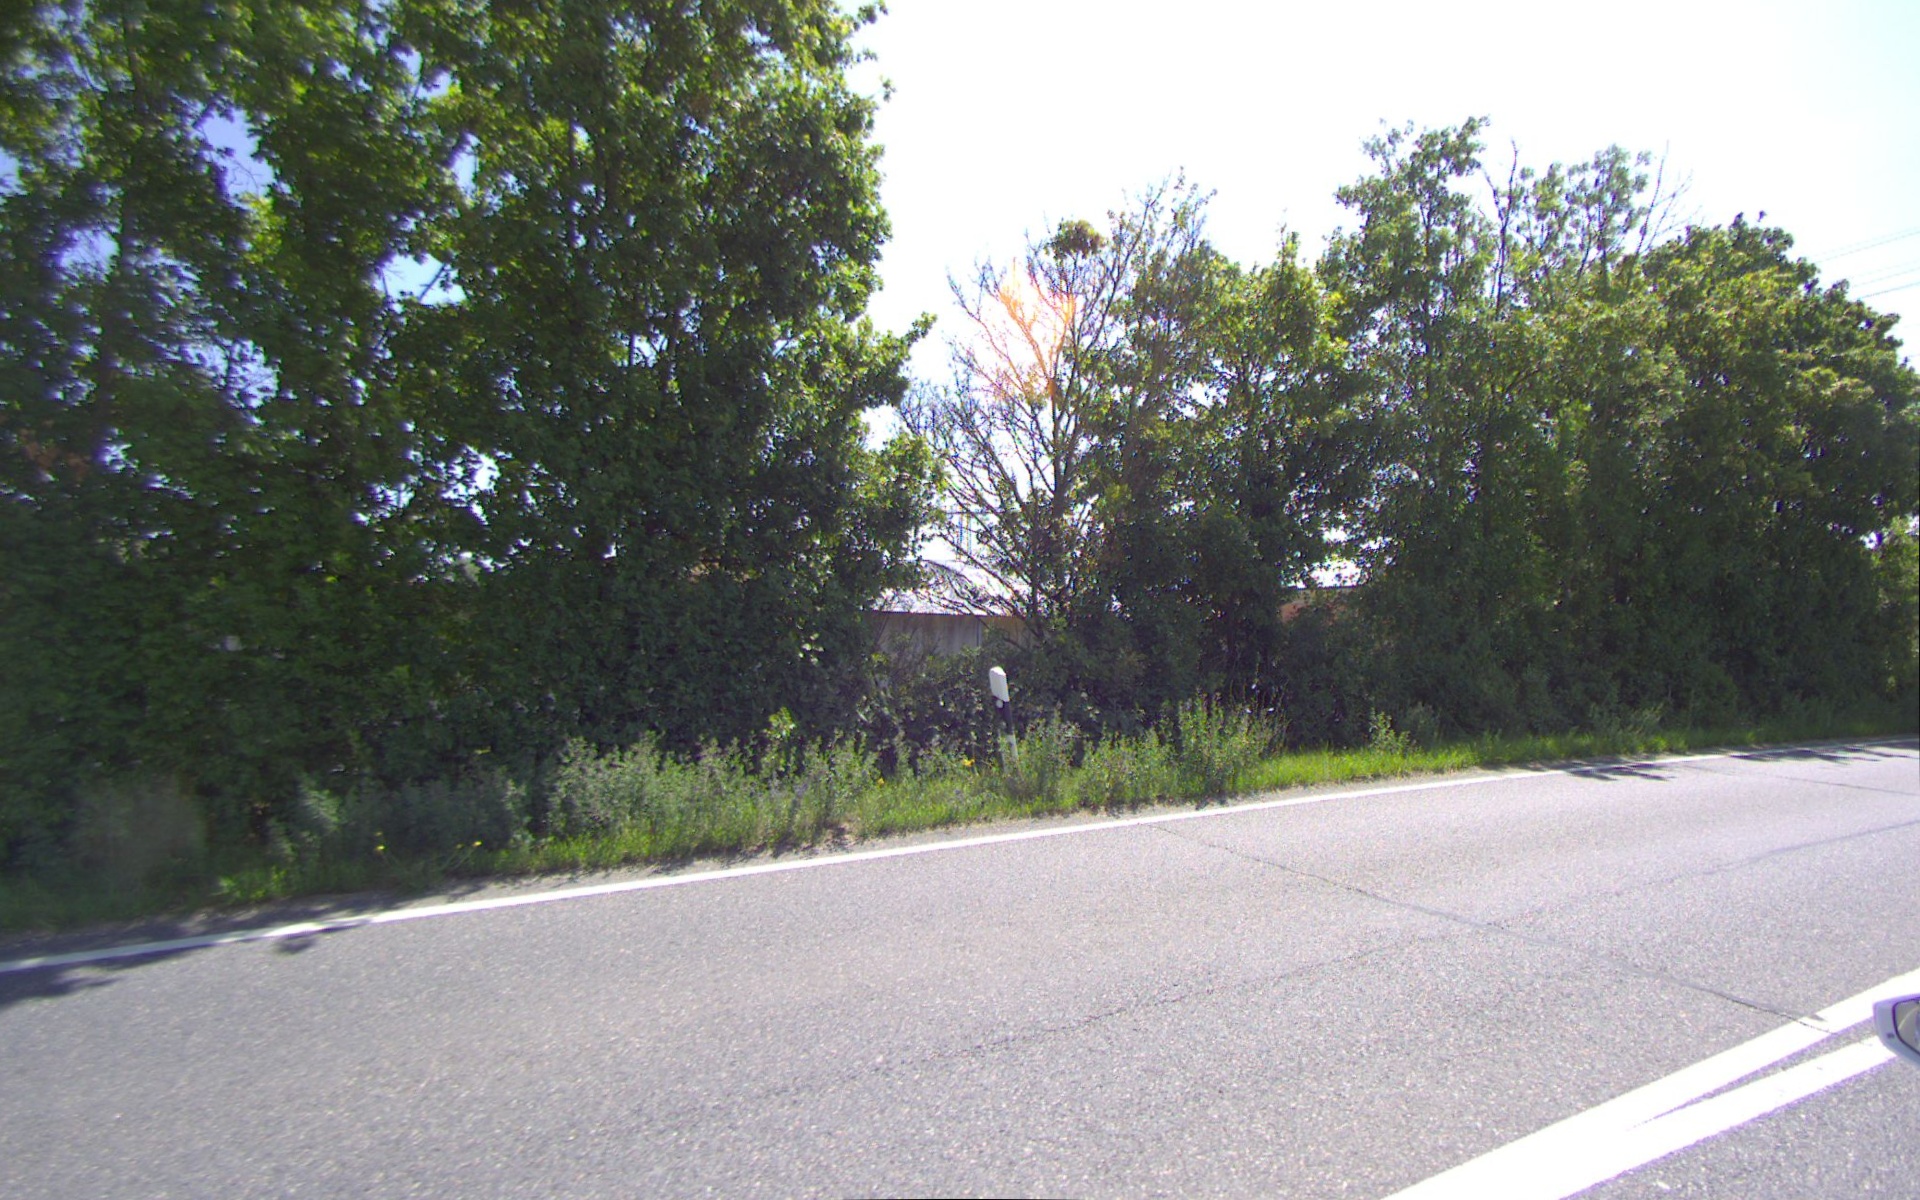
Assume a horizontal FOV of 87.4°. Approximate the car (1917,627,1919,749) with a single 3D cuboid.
[{"bbox_3d":[15.033,1.234,13.695,4.478,1.610,1.732,2,0,-31],"label":"car"}]
